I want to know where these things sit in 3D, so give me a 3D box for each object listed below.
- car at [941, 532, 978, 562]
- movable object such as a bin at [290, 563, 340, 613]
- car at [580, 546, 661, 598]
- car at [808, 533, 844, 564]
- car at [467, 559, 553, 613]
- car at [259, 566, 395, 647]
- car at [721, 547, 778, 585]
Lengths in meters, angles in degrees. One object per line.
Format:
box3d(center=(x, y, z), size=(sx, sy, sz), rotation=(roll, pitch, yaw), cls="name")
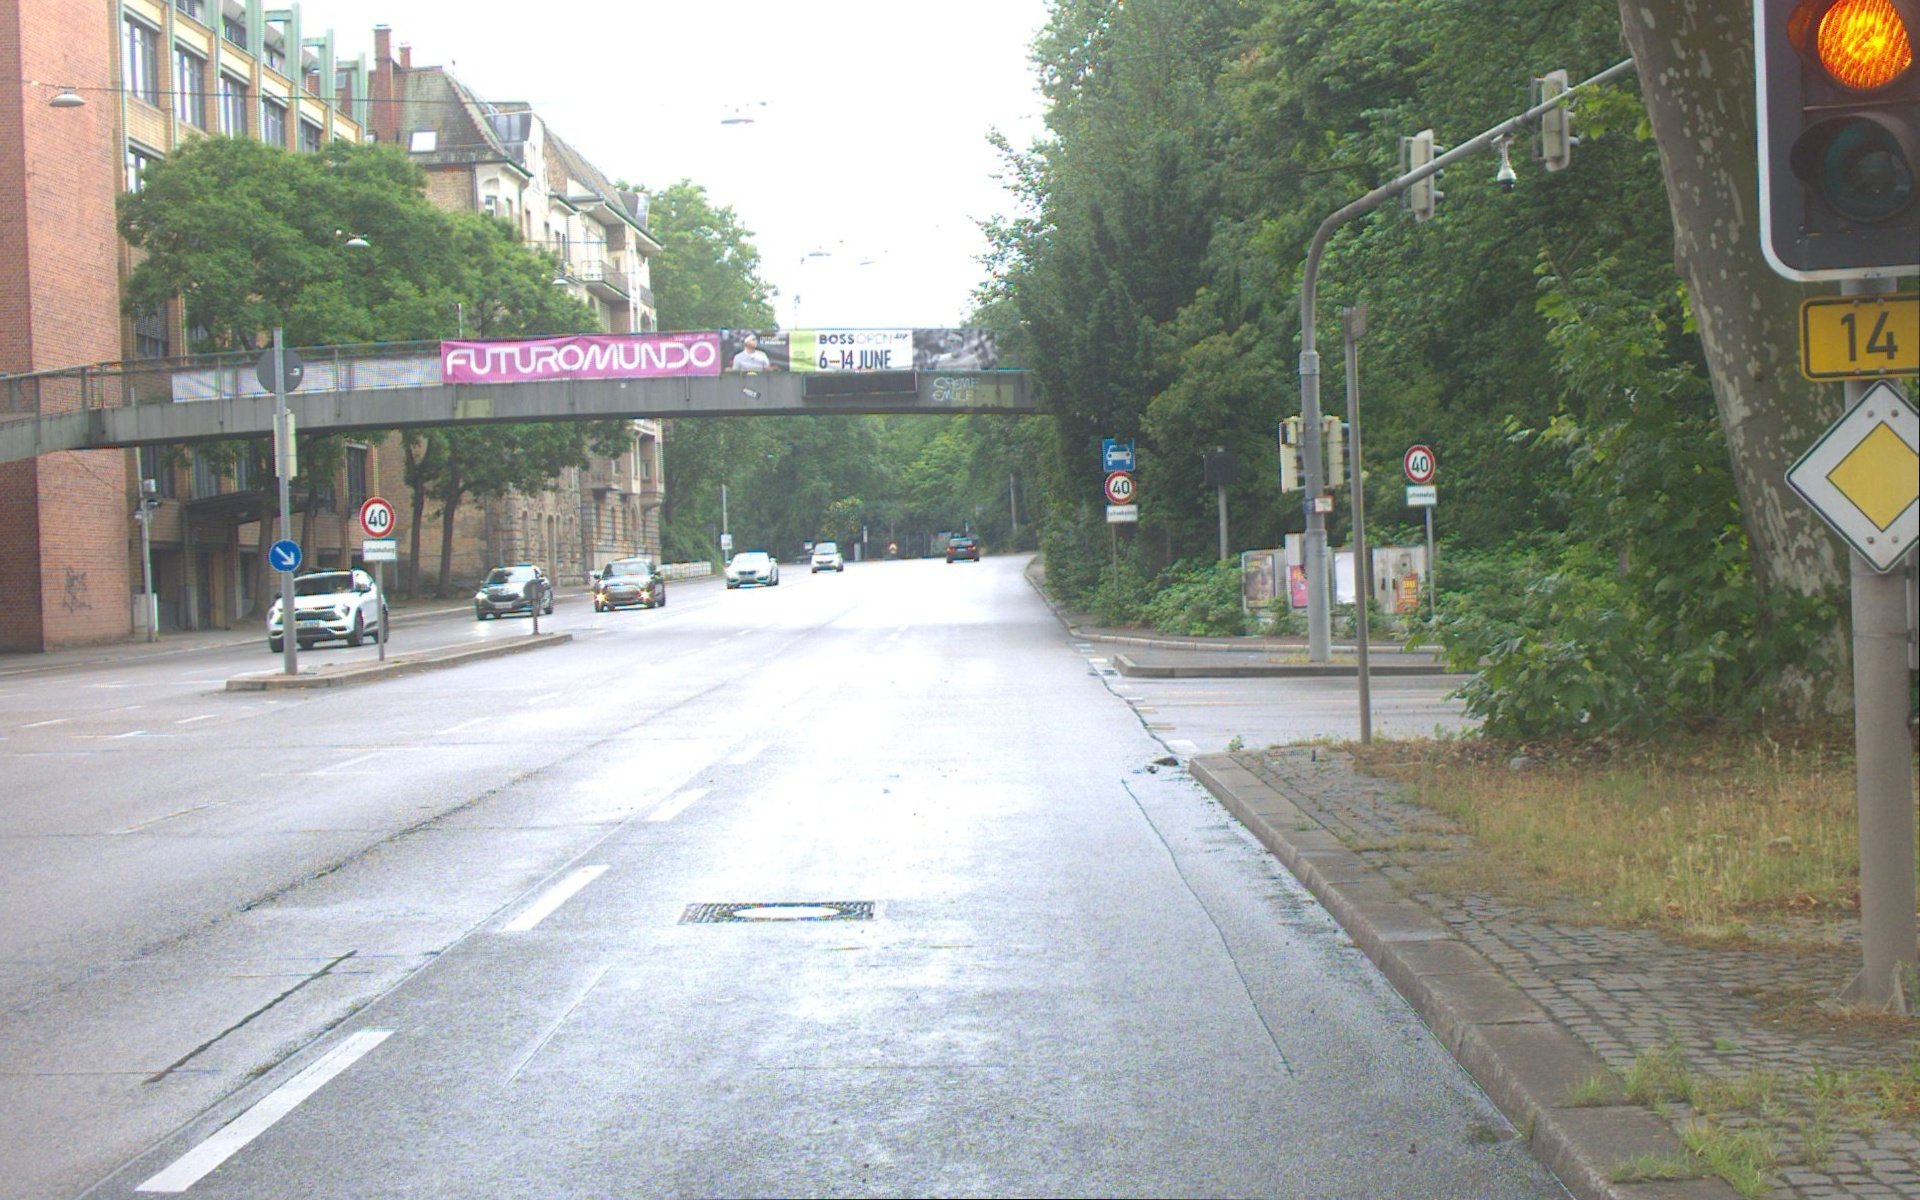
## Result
box3d(center=(-0.041, -3.071, 198.666), size=(2.004, 1.638, 4.376), rotation=(-2, 1, -2), cls="car")
box3d(center=(-20.094, -0.372, 107.127), size=(1.282, 1.513, 1.273), rotation=(-1, 1, 1), cls="movable object such as a bin")
box3d(center=(-9.770, -0.815, 99.025), size=(1.683, 1.431, 3.862), rotation=(-2, 0, 4), cls="car")
box3d(center=(-7.053, -2.710, 181.409), size=(1.600, 1.494, 3.711), rotation=(-3, 0, 1), cls="car")
box3d(center=(-12.753, -0.415, 97.593), size=(1.709, 1.459, 4.041), rotation=(-2, 0, 3), cls="car")
box3d(center=(-13.340, 0.109, 72.699), size=(1.890, 1.604, 4.456), rotation=(-1, 0, 2), cls="car")
box3d(center=(-8.221, -1.342, 134.852), size=(1.830, 1.389, 4.405), rotation=(-3, 0, 1), cls="car")
